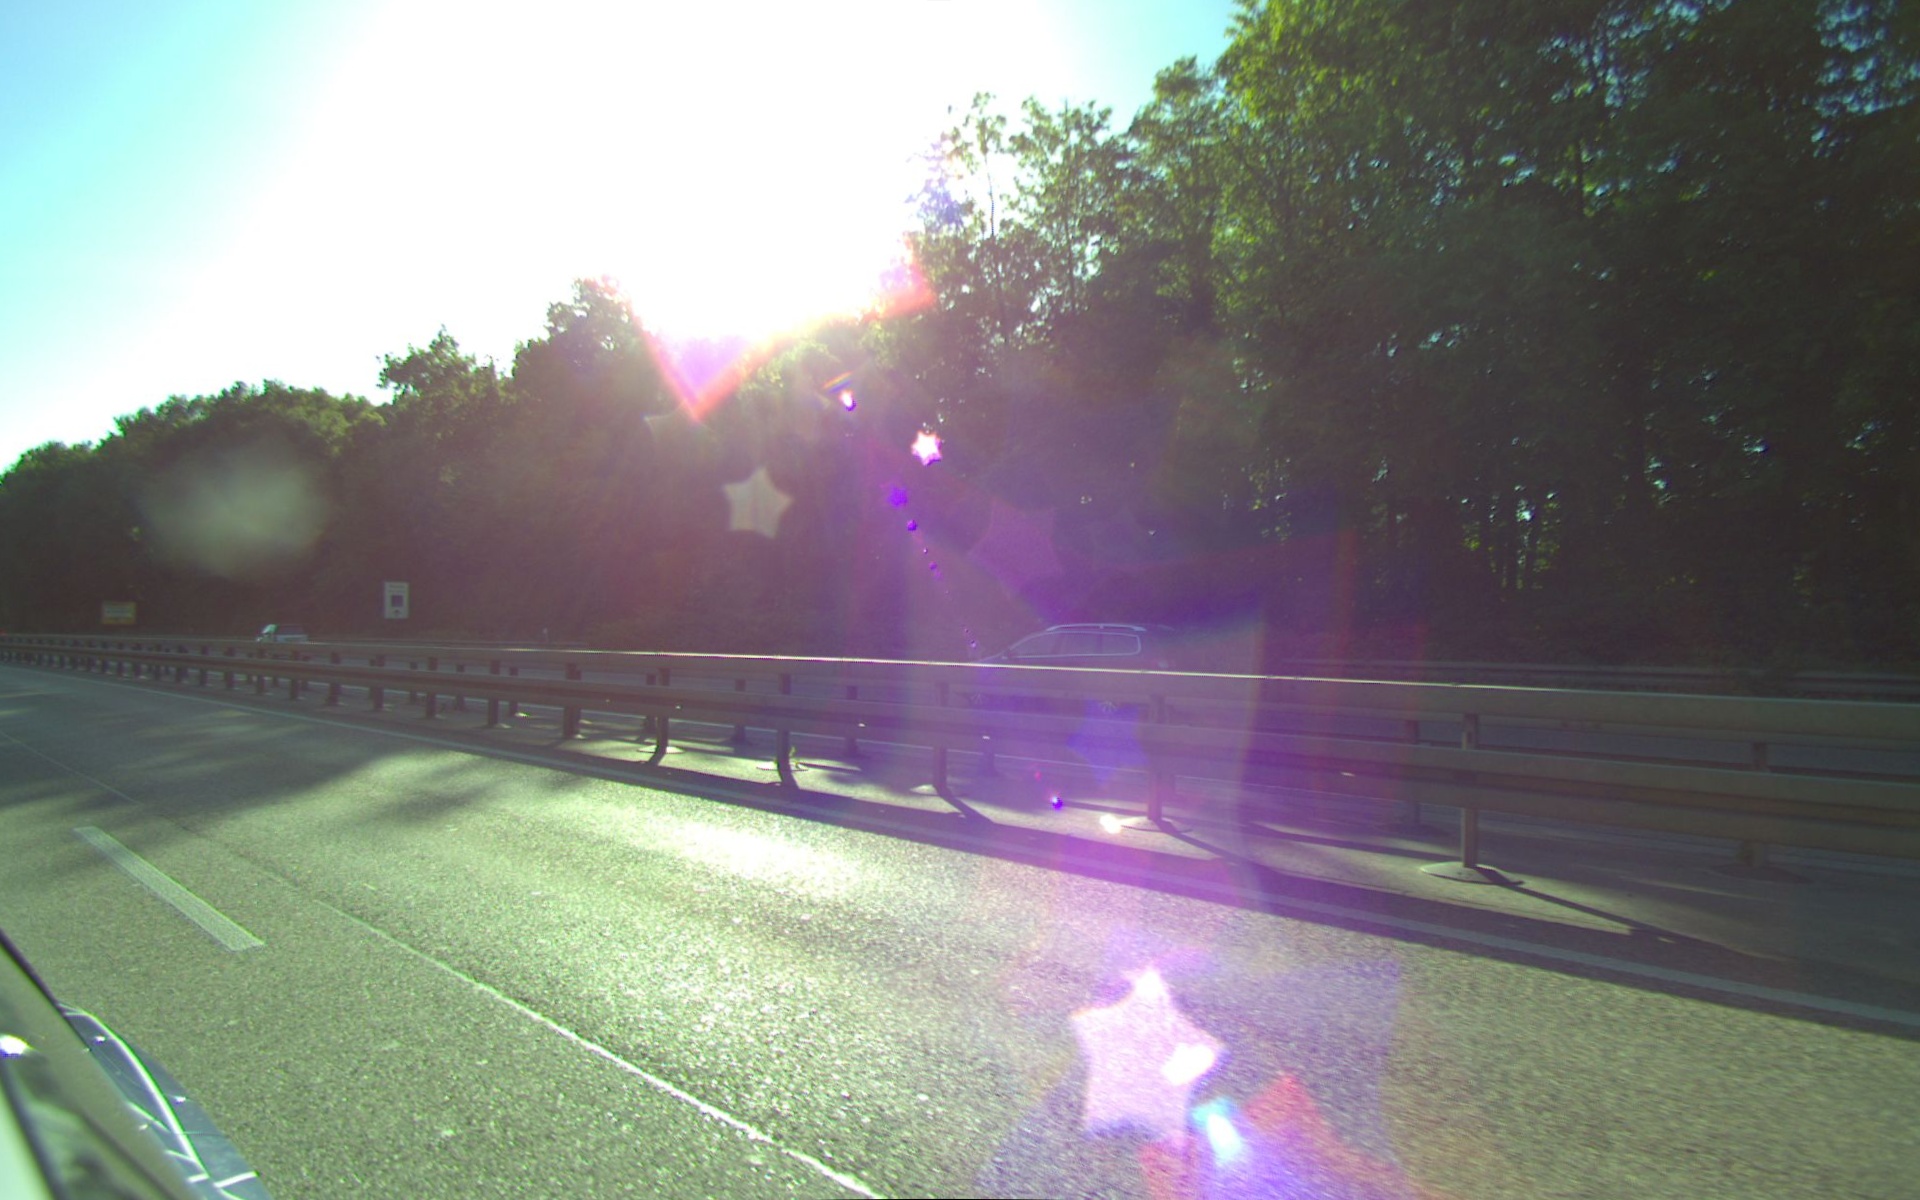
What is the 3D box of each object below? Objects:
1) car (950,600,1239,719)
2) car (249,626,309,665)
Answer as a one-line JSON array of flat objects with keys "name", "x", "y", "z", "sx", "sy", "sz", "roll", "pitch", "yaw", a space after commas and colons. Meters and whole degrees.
[{"name": "car", "x": 2.194, "y": 0.988, "z": 17.238, "sx": 4.547, "sy": 1.763, "sz": 1.973, "roll": -2, "pitch": -4, "yaw": 40}, {"name": "car", "x": -29.725, "y": 1.966, "z": 44.163, "sx": 2.873, "sy": 1.632, "sz": 1.399, "roll": -2, "pitch": -3, "yaw": 40}]
